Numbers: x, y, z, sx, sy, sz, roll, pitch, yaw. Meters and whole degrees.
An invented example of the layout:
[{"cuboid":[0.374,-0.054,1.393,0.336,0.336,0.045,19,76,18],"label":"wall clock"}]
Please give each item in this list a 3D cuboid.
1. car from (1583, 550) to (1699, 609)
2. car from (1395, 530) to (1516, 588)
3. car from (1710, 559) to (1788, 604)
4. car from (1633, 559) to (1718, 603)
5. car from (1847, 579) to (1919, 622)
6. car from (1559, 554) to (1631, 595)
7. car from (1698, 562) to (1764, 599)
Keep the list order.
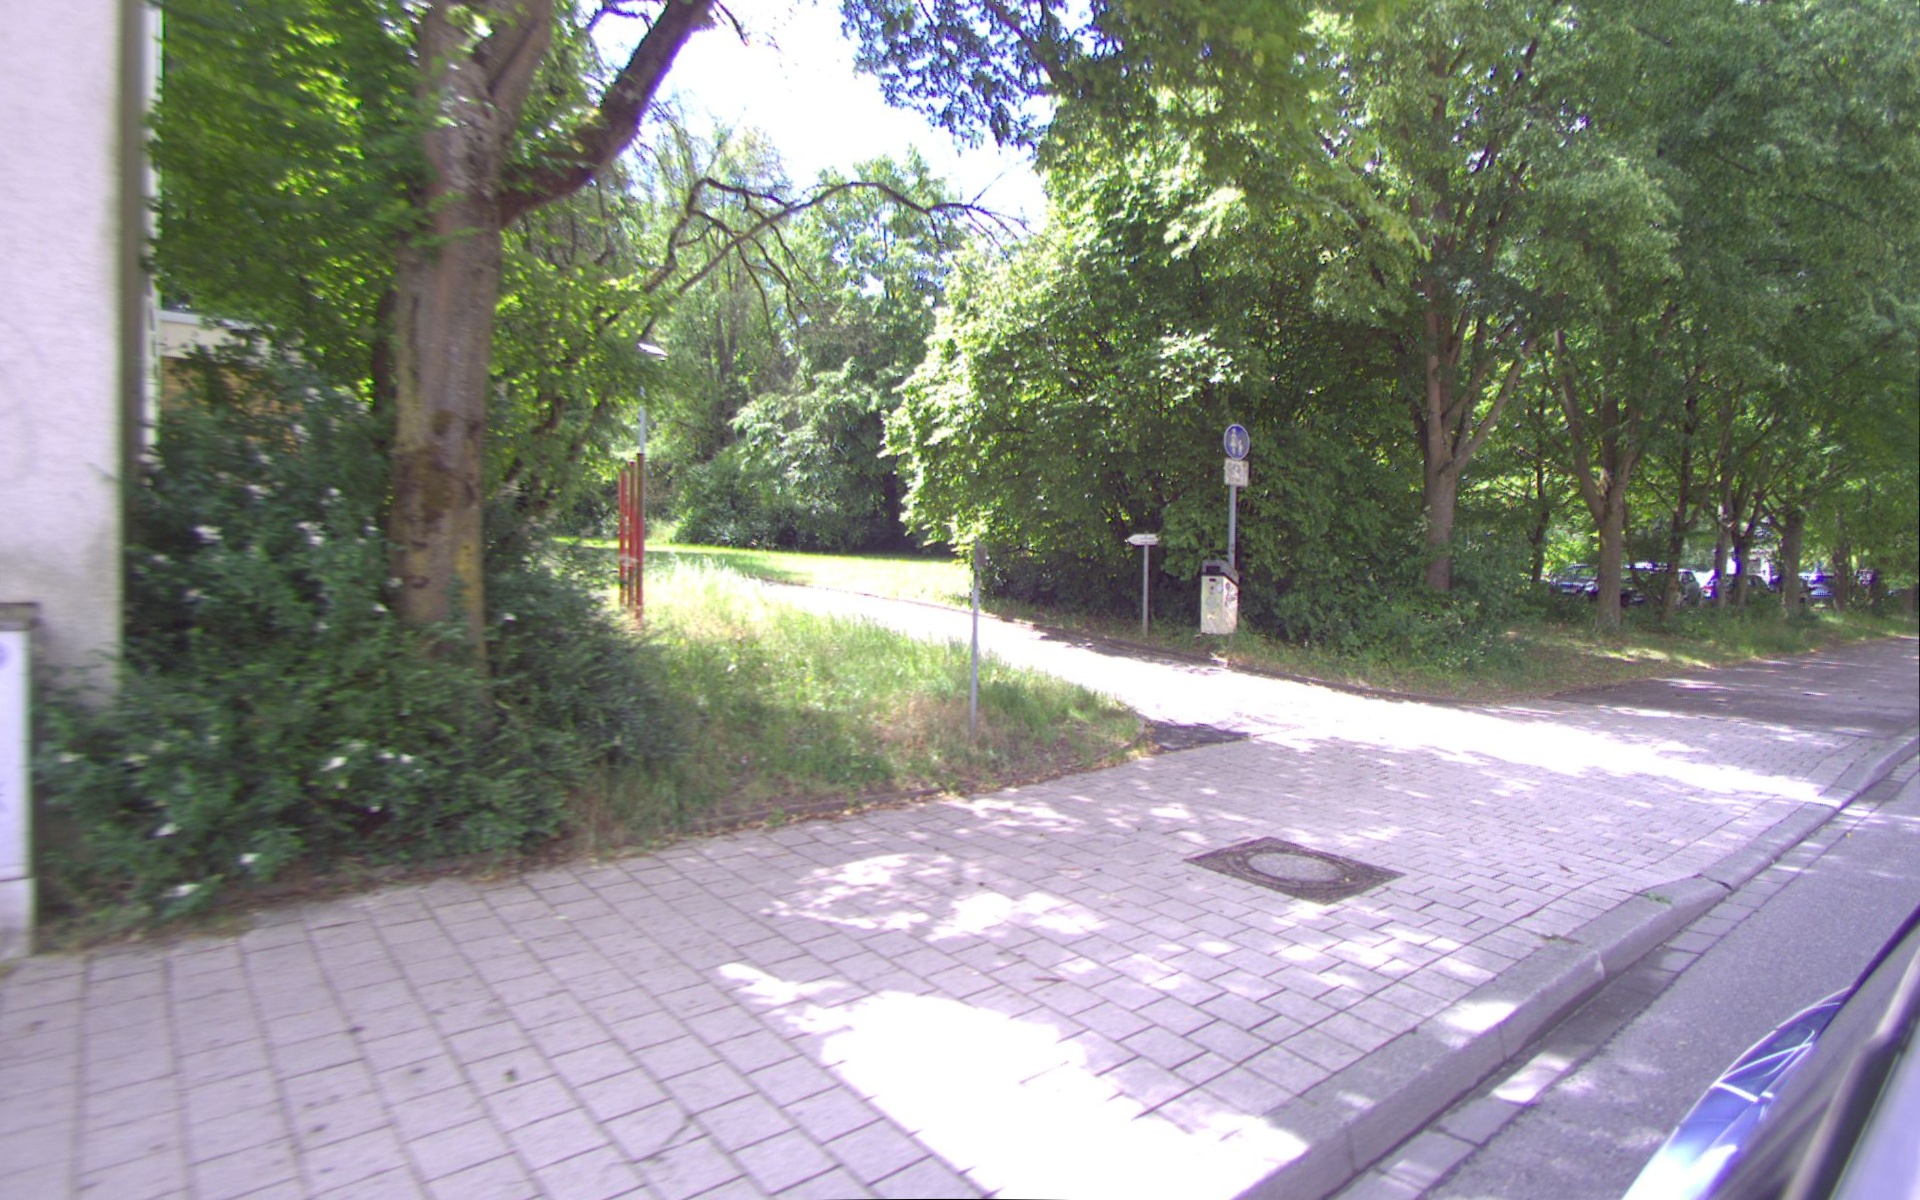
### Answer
[{"cuboid":[19.356,-0.582,28.736,3.610,1.561,1.756,-1,1,-39],"label":"car"},{"cuboid":[14.151,-1.138,28.854,3.558,1.561,1.657,-1,1,-36],"label":"car"},{"cuboid":[28.801,-0.671,36.897,4.158,1.561,1.753,-1,1,-45],"label":"car"},{"cuboid":[27.446,-0.737,38.789,3.610,1.560,1.657,-1,4,-39],"label":"car"},{"cuboid":[35.696,-0.019,38.872,3.607,1.561,1.657,-1,1,-35],"label":"car"},{"cuboid":[25.160,-1.000,40.048,3.616,1.561,1.653,-1,1,-45],"label":"car"},{"cuboid":[33.341,-0.844,43.752,3.564,1.561,1.654,-1,1,-42],"label":"car"}]
